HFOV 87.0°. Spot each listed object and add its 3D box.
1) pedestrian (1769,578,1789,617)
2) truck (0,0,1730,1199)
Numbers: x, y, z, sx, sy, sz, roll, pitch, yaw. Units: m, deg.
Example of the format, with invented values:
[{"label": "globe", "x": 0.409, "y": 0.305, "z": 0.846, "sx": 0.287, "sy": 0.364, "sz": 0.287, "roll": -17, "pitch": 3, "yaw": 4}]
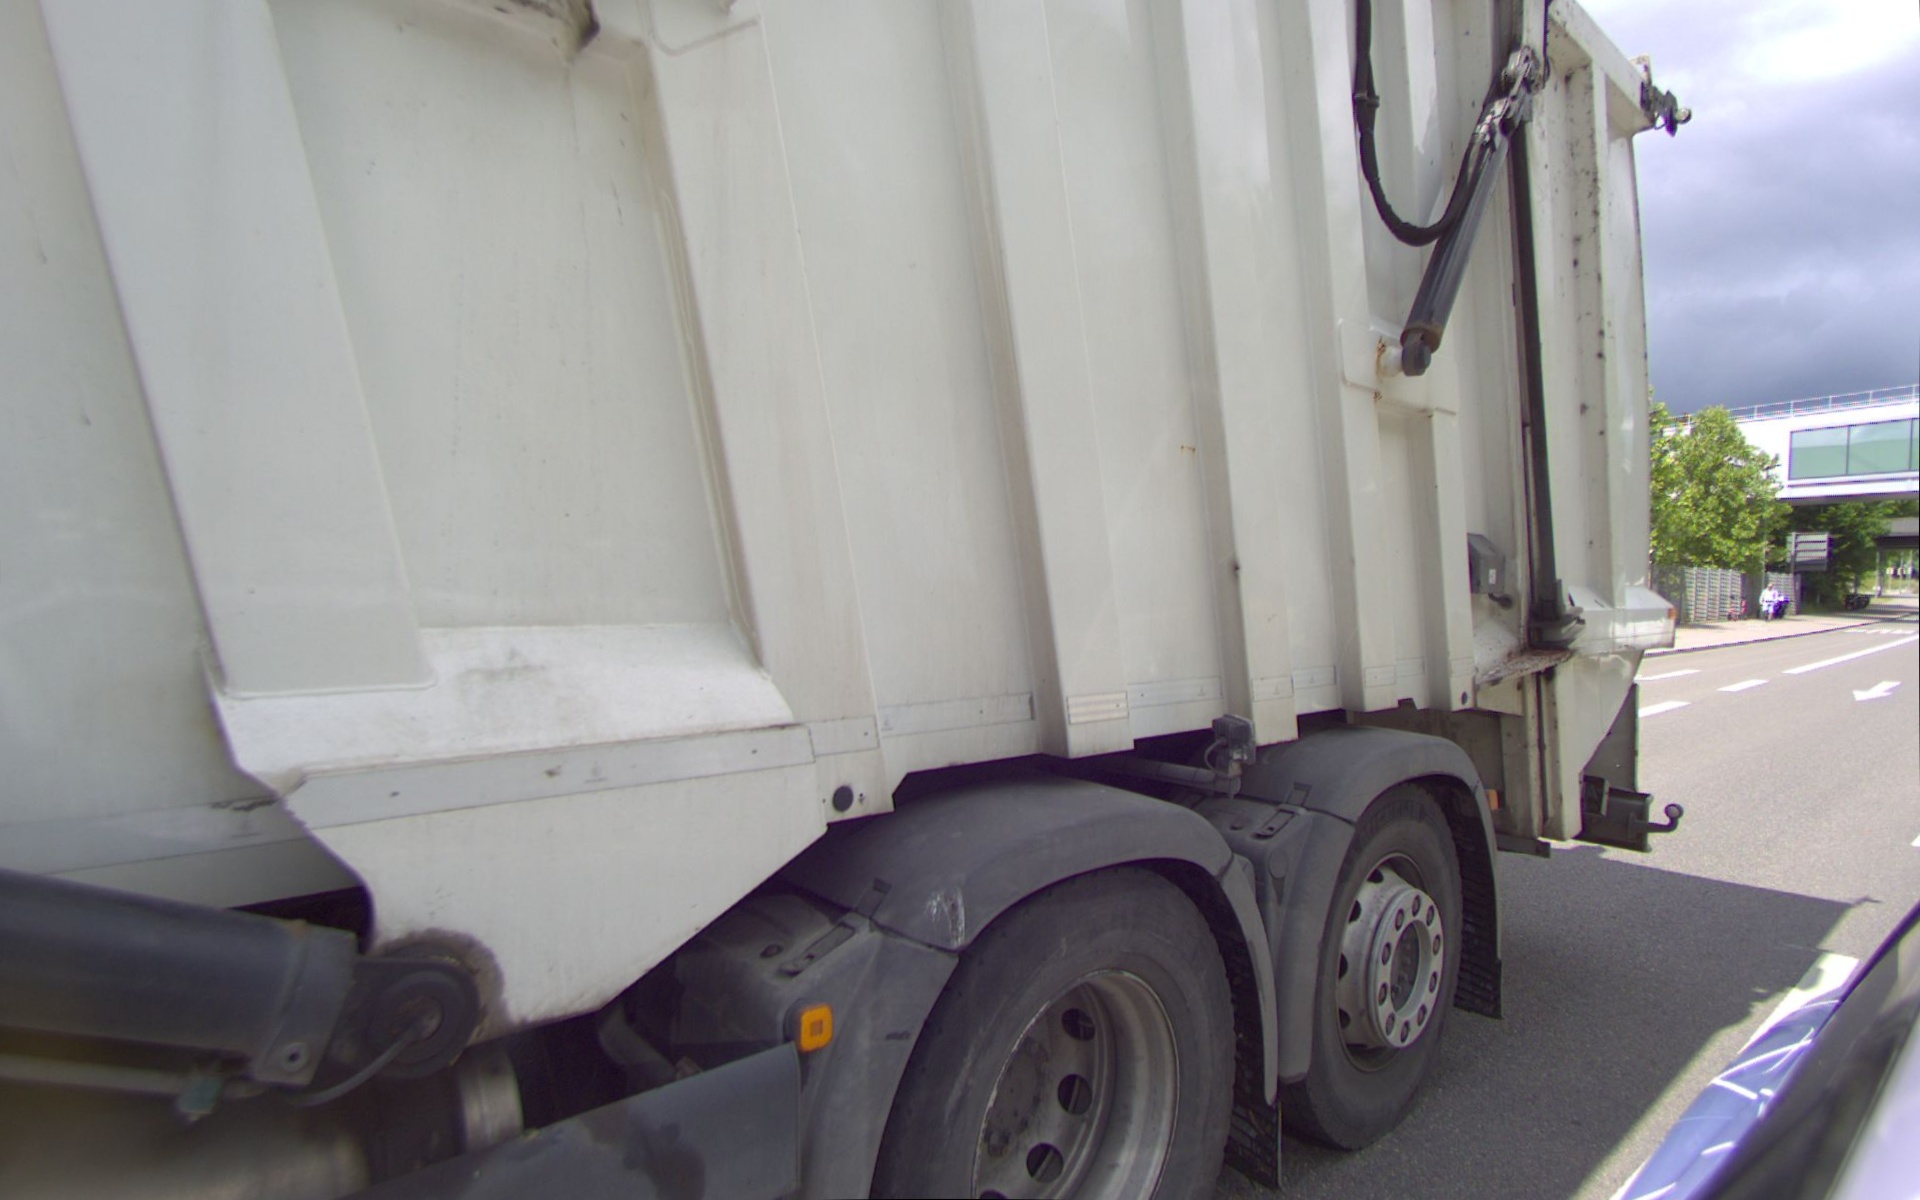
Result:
[{"label": "pedestrian", "x": 41.013, "y": -0.128, "z": 50.683, "sx": 0.737, "sy": 1.936, "sz": 0.648, "roll": 0, "pitch": 0, "yaw": 43}, {"label": "truck", "x": -0.854, "y": -0.670, "z": 2.441, "sx": 9.999, "sy": 3.962, "sz": 2.492, "roll": -1, "pitch": 0, "yaw": -42}]
